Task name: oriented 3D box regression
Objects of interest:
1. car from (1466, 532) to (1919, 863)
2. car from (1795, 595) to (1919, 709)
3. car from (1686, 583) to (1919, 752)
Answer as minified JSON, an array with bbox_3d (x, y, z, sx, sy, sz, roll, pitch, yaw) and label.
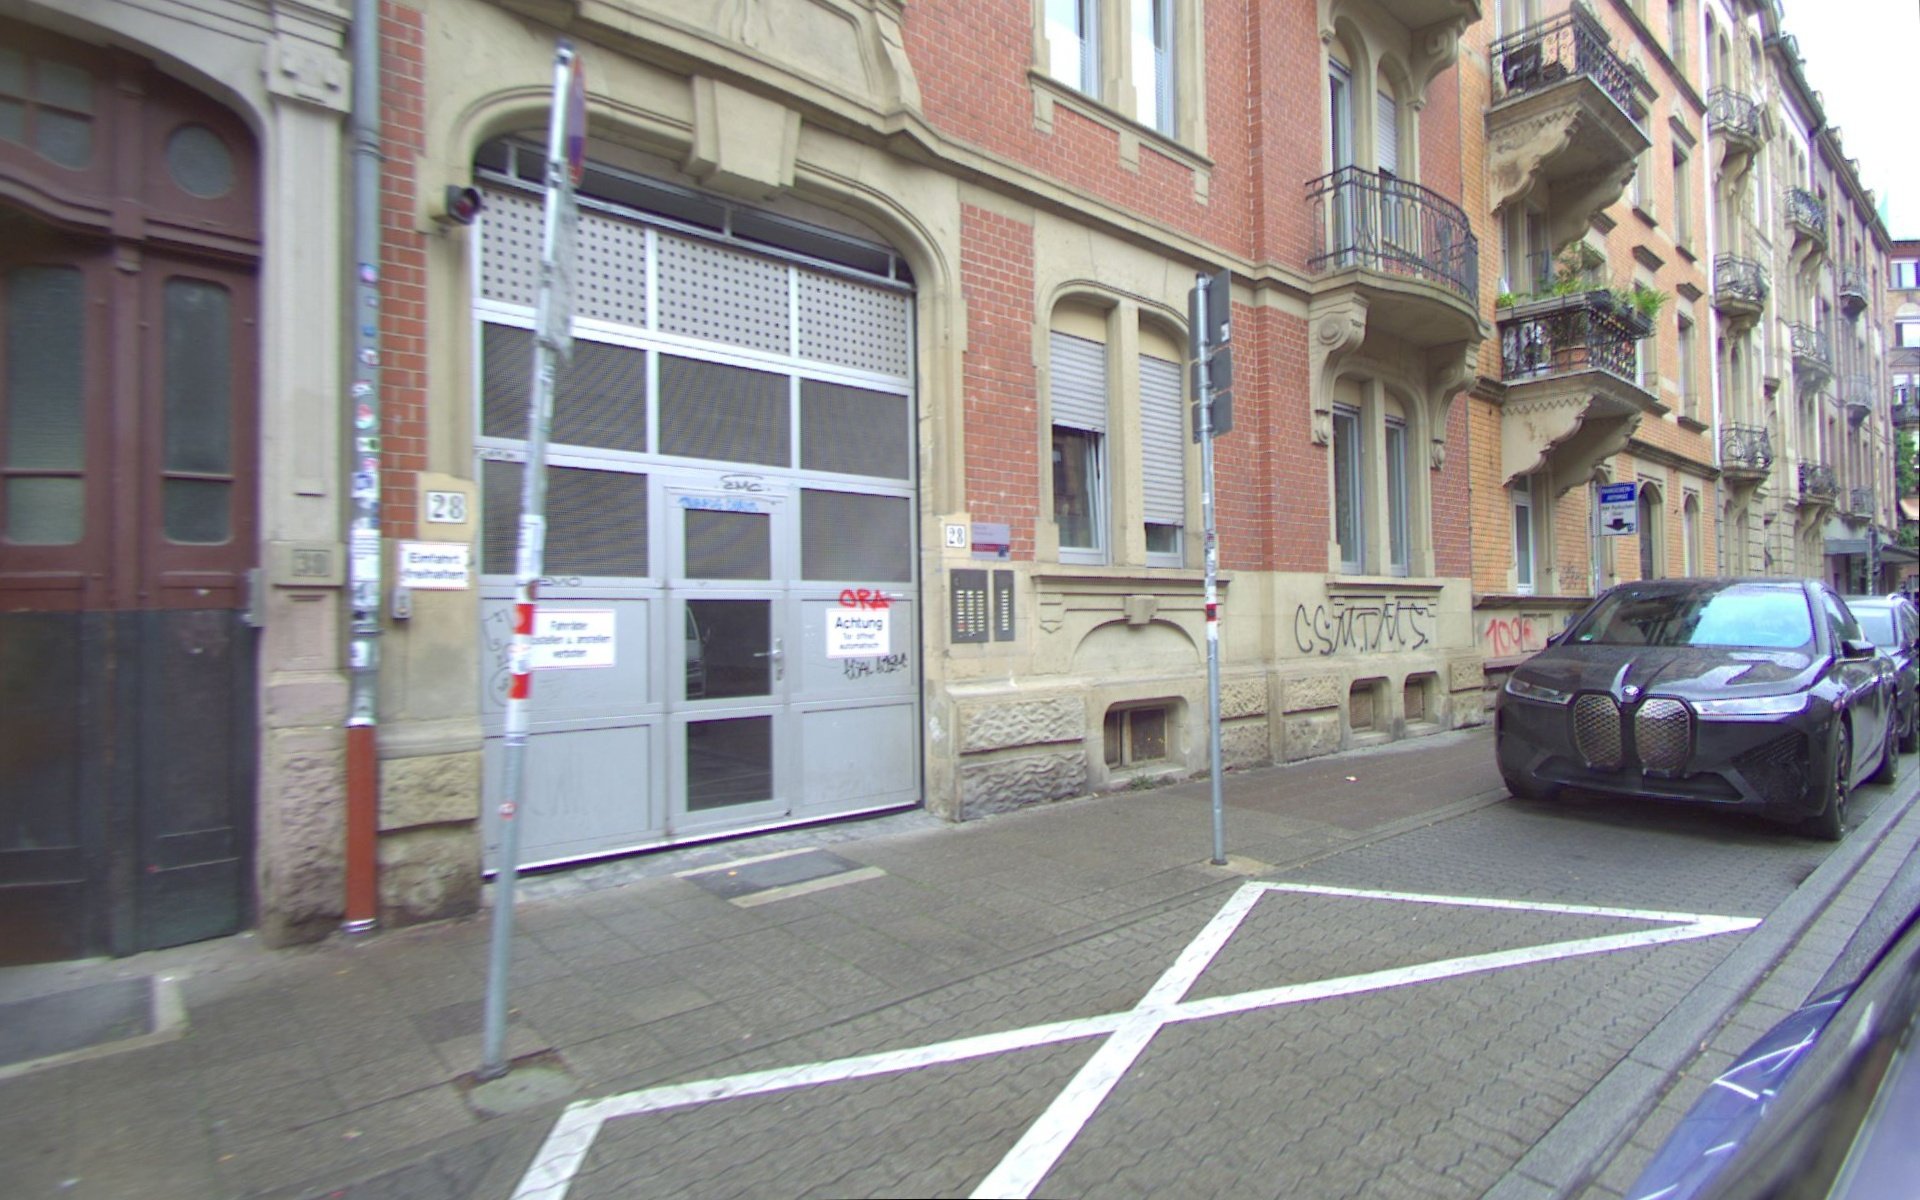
[{"bbox_3d":[5.925,0.522,7.873,4.744,1.802,1.996,0,0,-43],"label":"car"},{"bbox_3d":[13.946,0.695,14.923,4.404,1.485,1.790,0,-1,-41],"label":"car"},{"bbox_3d":[10.043,0.626,11.586,4.268,1.581,1.875,0,0,-41],"label":"car"}]
